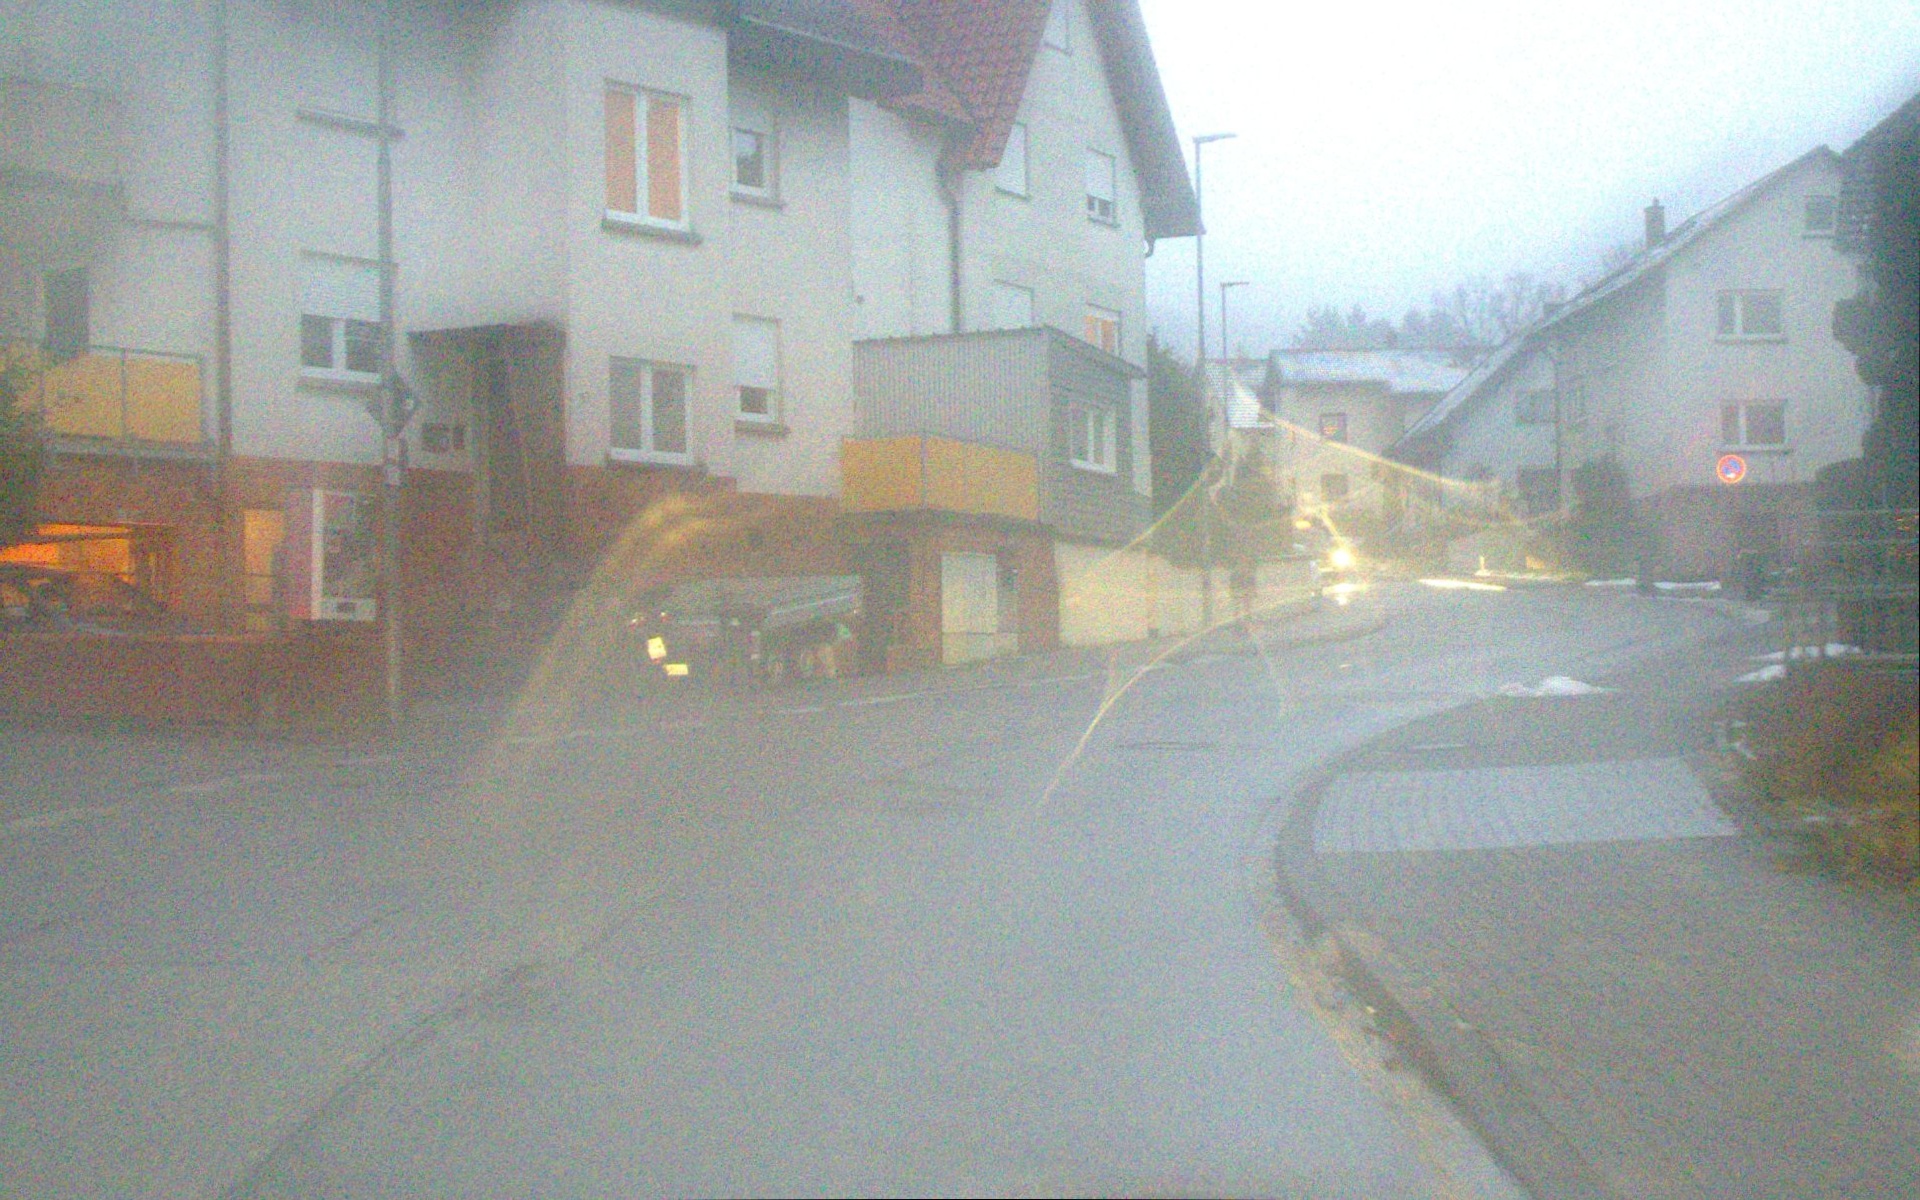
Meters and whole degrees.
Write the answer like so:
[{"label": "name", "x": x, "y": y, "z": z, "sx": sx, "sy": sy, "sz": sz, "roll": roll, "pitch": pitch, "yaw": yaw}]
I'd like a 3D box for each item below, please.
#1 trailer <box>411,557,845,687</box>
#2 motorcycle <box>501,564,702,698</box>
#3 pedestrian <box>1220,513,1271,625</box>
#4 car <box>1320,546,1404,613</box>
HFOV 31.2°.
[{"label": "trailer", "x": -3.515, "y": 0.193, "z": 37.364, "sx": 2.062, "sy": 1.165, "sz": 4.859, "roll": 0, "pitch": 2, "yaw": 34}, {"label": "motorcycle", "x": -3.652, "y": 0.287, "z": 34.817, "sx": 1.054, "sy": 1.294, "sz": 2.238, "roll": -1, "pitch": 1, "yaw": -36}, {"label": "pedestrian", "x": 4.428, "y": -0.478, "z": 53.297, "sx": 0.598, "sy": 1.727, "sz": 0.811, "roll": 0, "pitch": 0, "yaw": 20}, {"label": "car", "x": 13.017, "y": -0.676, "z": 111.094, "sx": 2.111, "sy": 2.020, "sz": 4.980, "roll": -2, "pitch": 1, "yaw": 13}]
